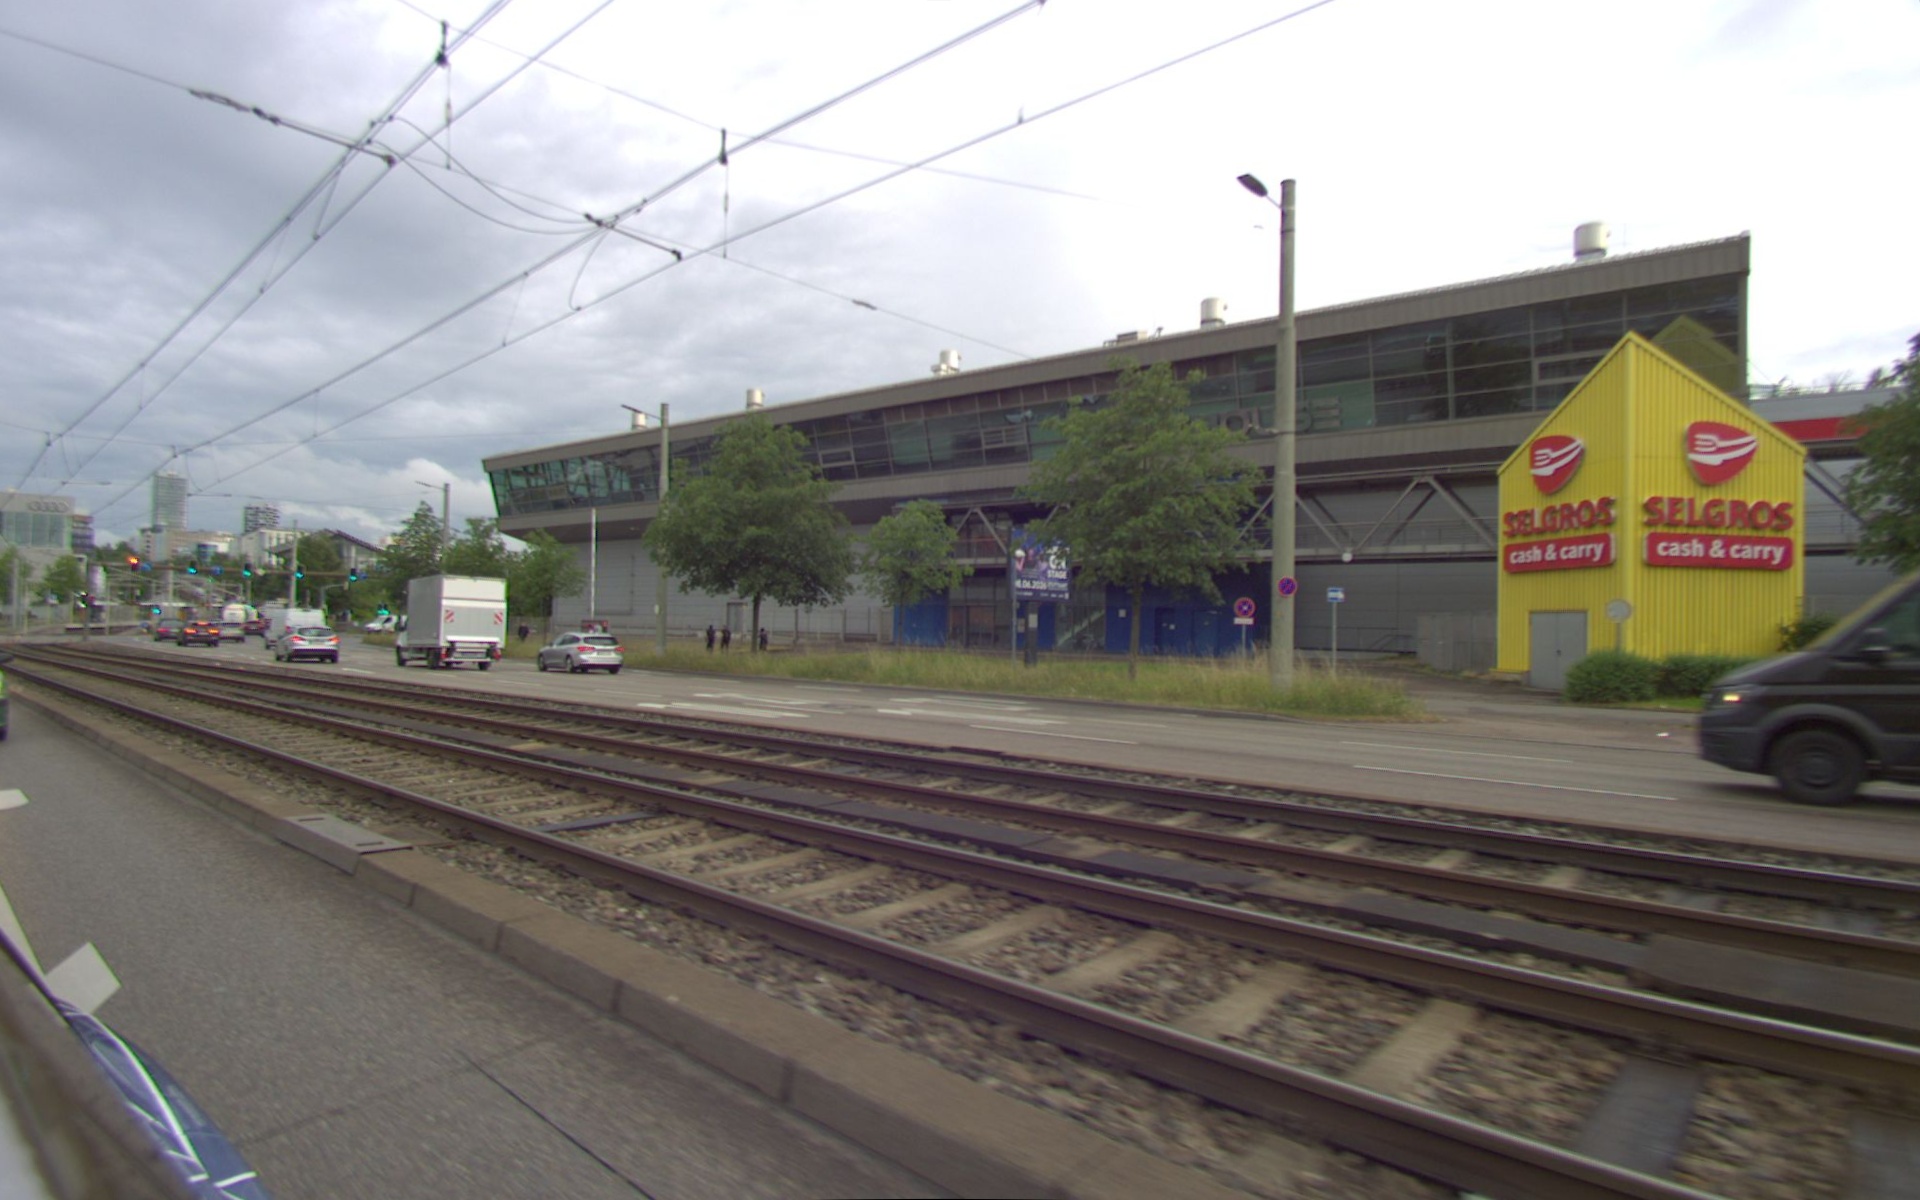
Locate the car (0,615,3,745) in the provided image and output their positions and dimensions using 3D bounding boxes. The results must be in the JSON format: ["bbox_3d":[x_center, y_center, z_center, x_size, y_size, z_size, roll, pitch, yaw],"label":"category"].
[{"bbox_3d":[-13.248,0.969,12.535,4.137,1.509,1.739,-1,0,43],"label":"car"}]
